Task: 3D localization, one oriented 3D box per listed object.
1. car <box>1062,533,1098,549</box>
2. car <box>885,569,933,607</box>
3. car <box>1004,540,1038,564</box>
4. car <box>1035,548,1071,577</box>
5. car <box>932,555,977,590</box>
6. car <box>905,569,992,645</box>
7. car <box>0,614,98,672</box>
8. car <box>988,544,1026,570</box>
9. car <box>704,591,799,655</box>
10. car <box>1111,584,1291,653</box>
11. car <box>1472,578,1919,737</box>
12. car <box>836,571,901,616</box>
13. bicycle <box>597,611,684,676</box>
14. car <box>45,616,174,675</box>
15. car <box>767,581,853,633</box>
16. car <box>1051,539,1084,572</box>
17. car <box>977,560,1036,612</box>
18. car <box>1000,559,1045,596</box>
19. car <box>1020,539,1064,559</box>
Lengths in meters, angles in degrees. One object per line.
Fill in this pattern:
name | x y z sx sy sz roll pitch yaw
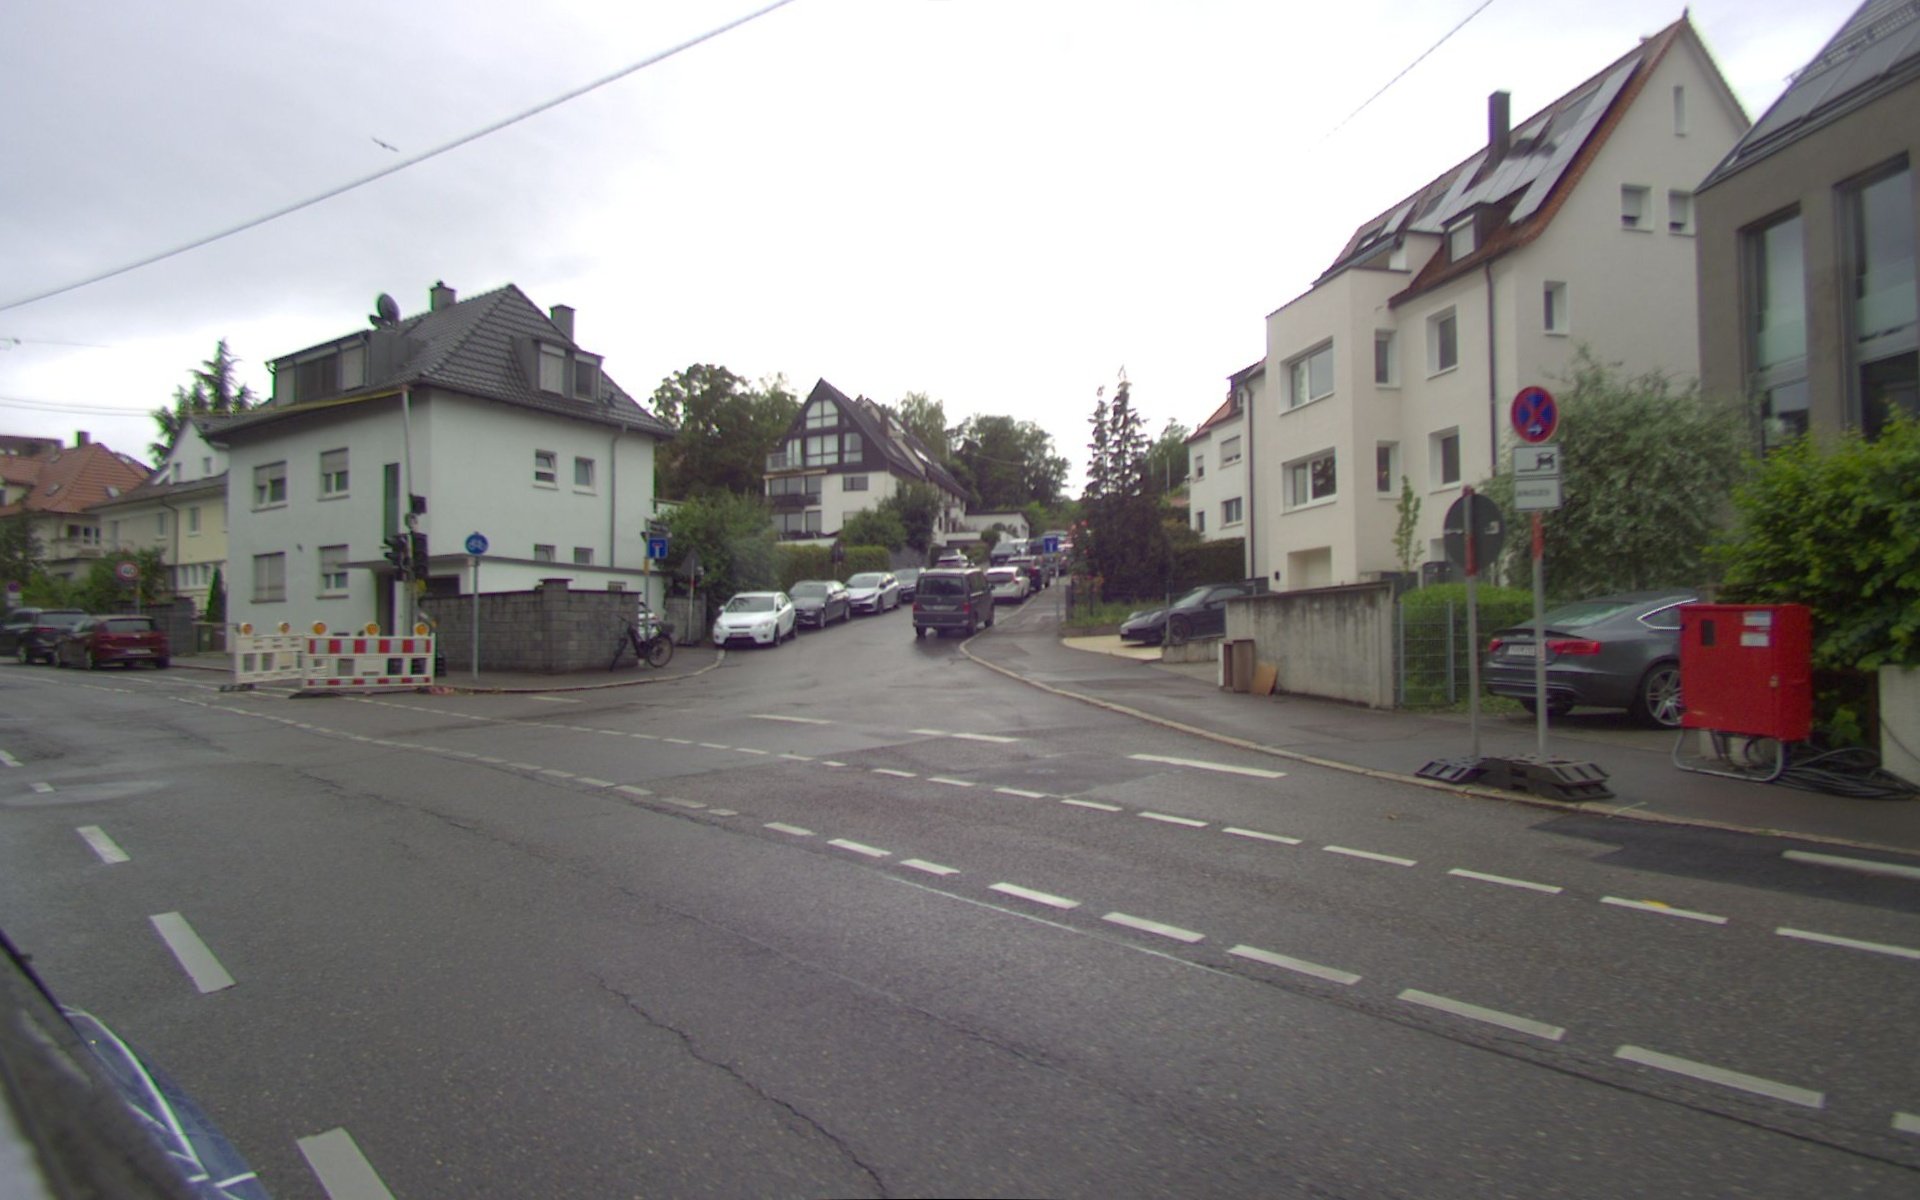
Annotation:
car | 12.573 -6.141 105.880 3.497 1.510 1.612 0 6 22
car | -2.243 -0.569 45.481 1.322 1.400 3.493 -1 5 11
car | 4.773 -3.749 78.710 1.722 1.510 3.812 -1 6 17
car | 5.617 -2.279 60.881 1.679 1.479 3.548 -1 5 13
car | -0.256 -1.518 55.356 1.324 1.566 3.966 -1 6 17
car | -0.295 0.160 31.901 1.895 1.950 3.784 -1 5 12
car | -27.538 1.311 30.363 3.998 1.601 1.650 -3 -1 36
car | 3.341 -3.062 71.502 1.722 1.510 3.812 -1 6 17
car | -5.871 0.595 28.926 1.728 1.476 3.558 -2 3 4
car | 5.794 0.414 24.447 3.858 1.342 1.571 -4 0 -12
car | 7.949 0.557 10.788 4.195 1.378 1.616 -2 -1 -8
car | -3.564 -0.287 40.075 1.566 1.476 3.843 -1 5 11
bicycle | -6.876 0.911 21.858 0.706 1.321 1.711 -1 0 37
car | -23.333 1.269 27.745 3.789 1.505 1.875 -3 -3 36
car | -5.108 0.204 34.963 1.686 1.476 3.842 -2 3 11
car | 6.928 -2.898 65.083 1.679 1.871 3.548 -1 5 13
car | 2.014 -0.633 42.532 1.902 1.850 3.401 -1 5 12
car | 2.999 -1.093 47.817 1.567 1.479 3.548 -1 5 13
car | 7.017 -4.365 86.168 3.576 1.510 1.576 -2 5 10
